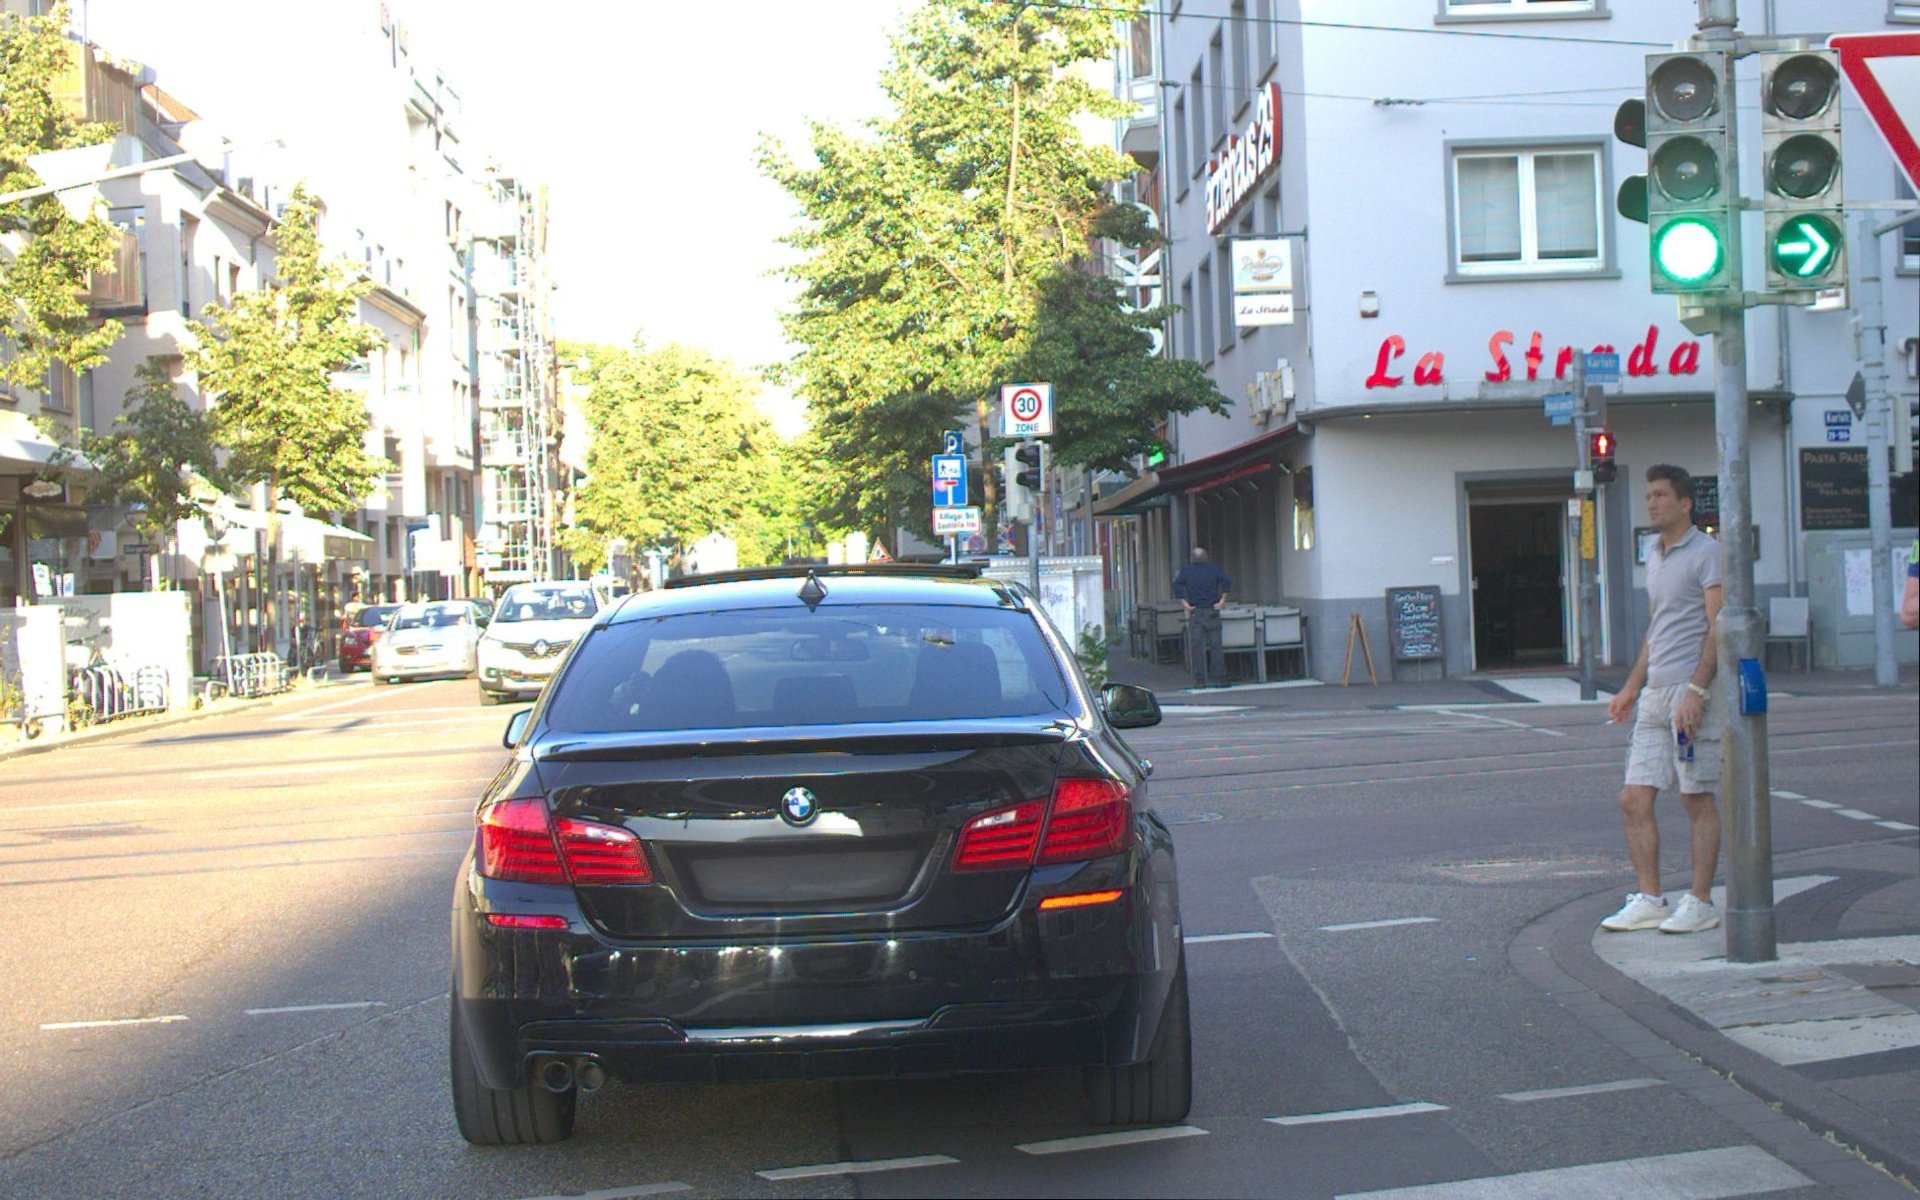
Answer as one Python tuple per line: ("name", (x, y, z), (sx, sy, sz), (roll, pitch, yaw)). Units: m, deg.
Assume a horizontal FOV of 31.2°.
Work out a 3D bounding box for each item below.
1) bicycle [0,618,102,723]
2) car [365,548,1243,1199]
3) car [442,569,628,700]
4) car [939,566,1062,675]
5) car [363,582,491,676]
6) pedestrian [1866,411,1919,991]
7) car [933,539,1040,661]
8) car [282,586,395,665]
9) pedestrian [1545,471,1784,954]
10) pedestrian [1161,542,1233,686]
("bicycle", (-11.625, 0.854, 41.550), (2.366, 1.248, 0.640), (0, 0, -6))
("car", (-0.366, 0.636, 10.014), (1.953, 1.493, 4.465), (-1, 0, 0))
("car", (-5.574, 0.443, 45.553), (2.108, 1.551, 4.013), (-3, 0, -3))
("car", (0.591, 0.272, 48.764), (1.640, 1.439, 3.607), (-2, 0, 1))
("car", (-9.409, 0.493, 60.925), (1.834, 1.551, 3.780), (-2, 0, -3))
("pedestrian", (3.347, 0.313, 10.913), (0.691, 1.821, 0.880), (-3, 0, 5))
("car", (0.445, -0.037, 55.441), (1.640, 1.867, 3.607), (1, 1, 1))
("car", (-13.224, 0.540, 73.321), (1.834, 1.551, 3.780), (-3, 0, -3))
("pedestrian", (2.626, 0.407, 12.871), (0.651, 1.736, 0.694), (-2, 0, -5))
("pedestrian", (2.786, 0.161, 40.472), (0.711, 1.670, 0.703), (-1, 0, -4))
